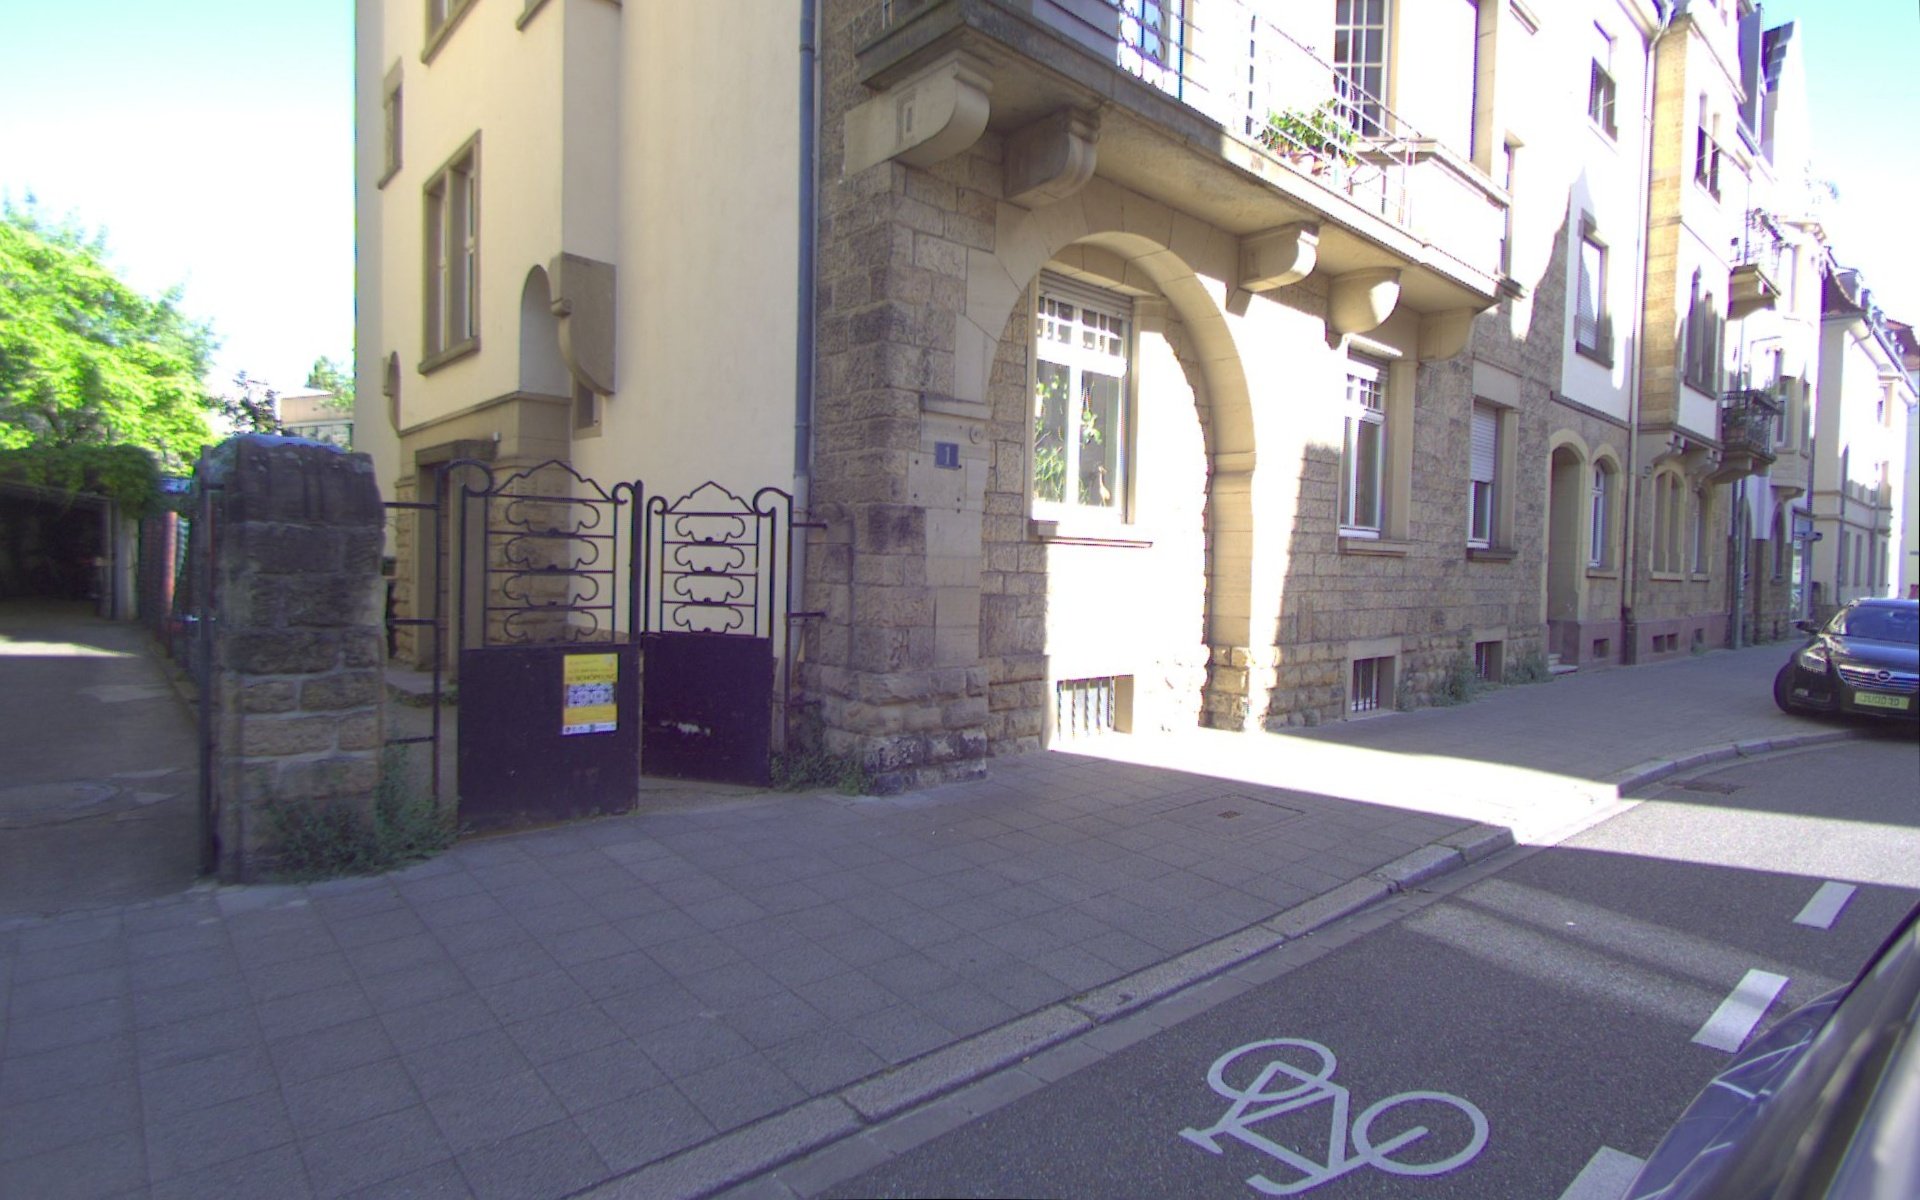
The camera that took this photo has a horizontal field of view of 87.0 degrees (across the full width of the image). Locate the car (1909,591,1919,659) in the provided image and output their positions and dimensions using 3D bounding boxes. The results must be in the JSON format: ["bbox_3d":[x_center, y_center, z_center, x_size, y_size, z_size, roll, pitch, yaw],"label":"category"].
[{"bbox_3d":[22.459,0.560,22.558,1.787,1.447,3.746,3,2,44],"label":"car"}]

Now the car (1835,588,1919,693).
[{"bbox_3d":[15.231,0.588,15.978,4.186,1.460,1.654,0,3,-43],"label":"car"}]

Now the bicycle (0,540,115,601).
[{"bbox_3d":[-18.363,-0.609,20.458,2.834,1.124,0.865,3,2,25],"label":"bicycle"}]

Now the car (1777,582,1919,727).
[{"bbox_3d":[11.468,0.565,12.195,4.265,1.480,1.869,0,3,-42],"label":"car"}]

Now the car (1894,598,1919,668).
[{"bbox_3d":[19.285,0.622,19.483,3.875,1.270,1.694,0,1,-44],"label":"car"}]
